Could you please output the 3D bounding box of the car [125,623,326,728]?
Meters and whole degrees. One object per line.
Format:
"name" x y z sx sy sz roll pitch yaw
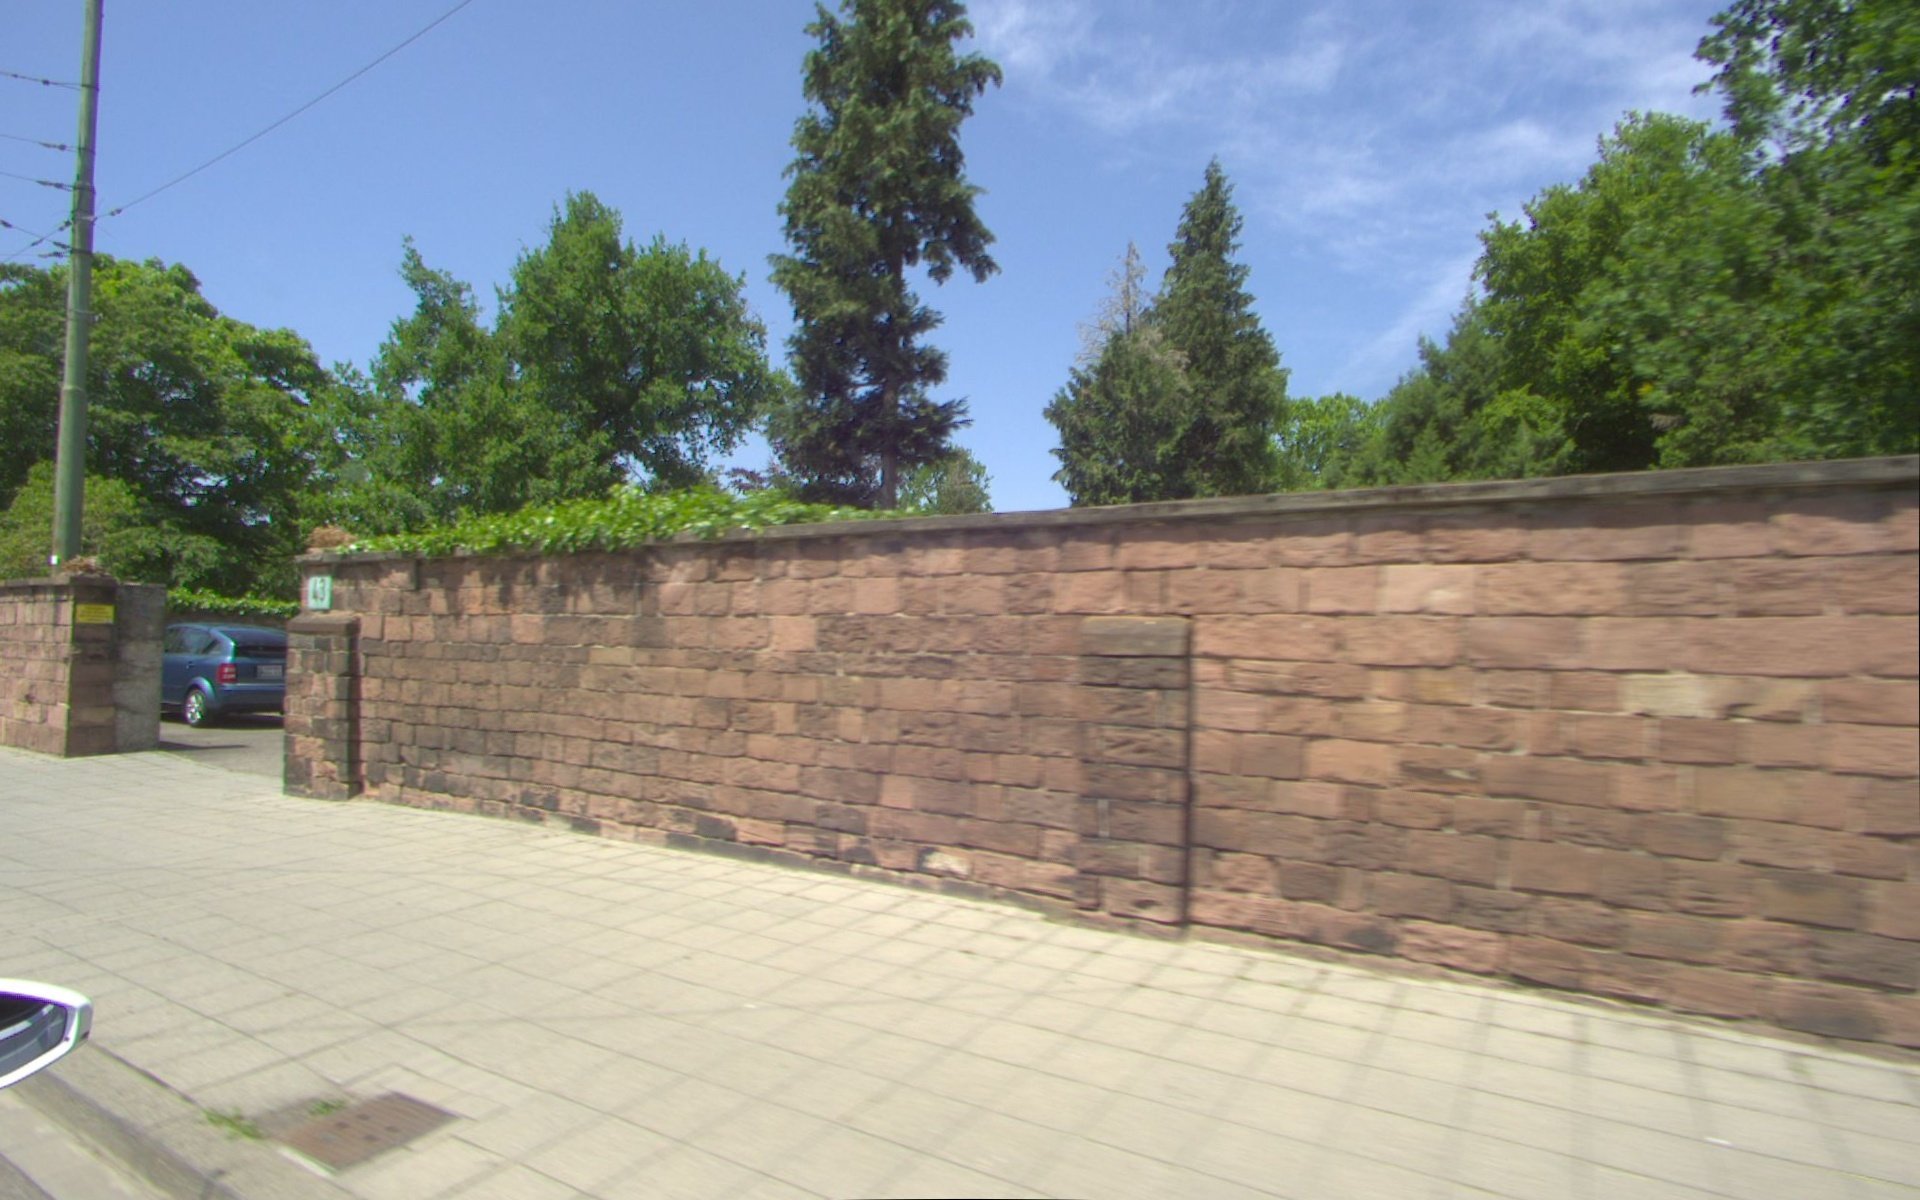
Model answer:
"car" -11.613 1.153 15.825 2.901 1.500 1.480 0 -3 30
